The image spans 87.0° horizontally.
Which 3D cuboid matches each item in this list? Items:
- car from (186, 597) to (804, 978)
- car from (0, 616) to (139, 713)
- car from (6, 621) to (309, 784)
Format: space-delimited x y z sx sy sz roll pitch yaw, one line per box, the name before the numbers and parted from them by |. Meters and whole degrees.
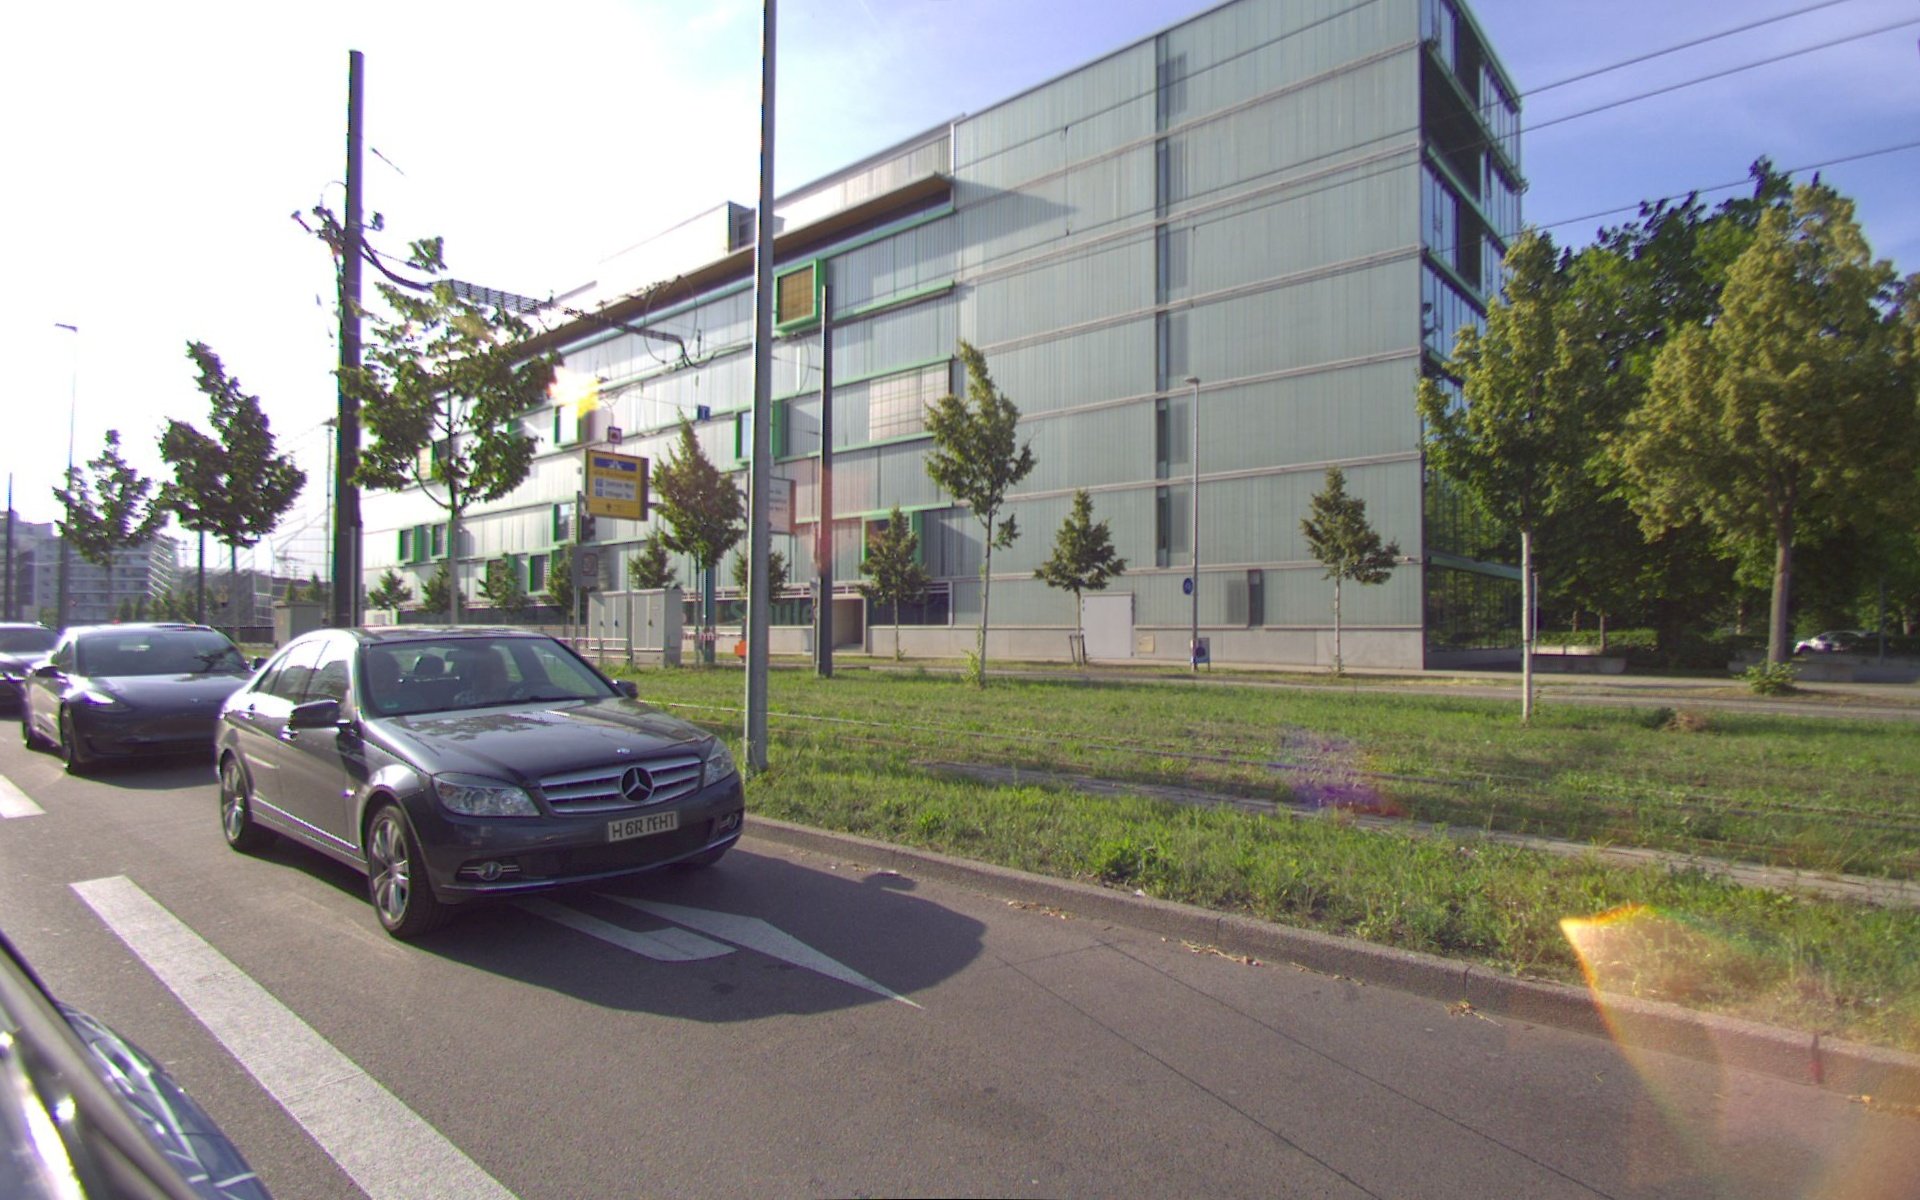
car | -3.044 0.795 6.104 4.351 1.490 1.768 -2 -1 41
car | -16.109 1.056 17.173 4.454 1.437 1.877 -2 -1 29
car | -8.927 0.985 11.112 4.332 1.396 1.870 -2 -1 41
